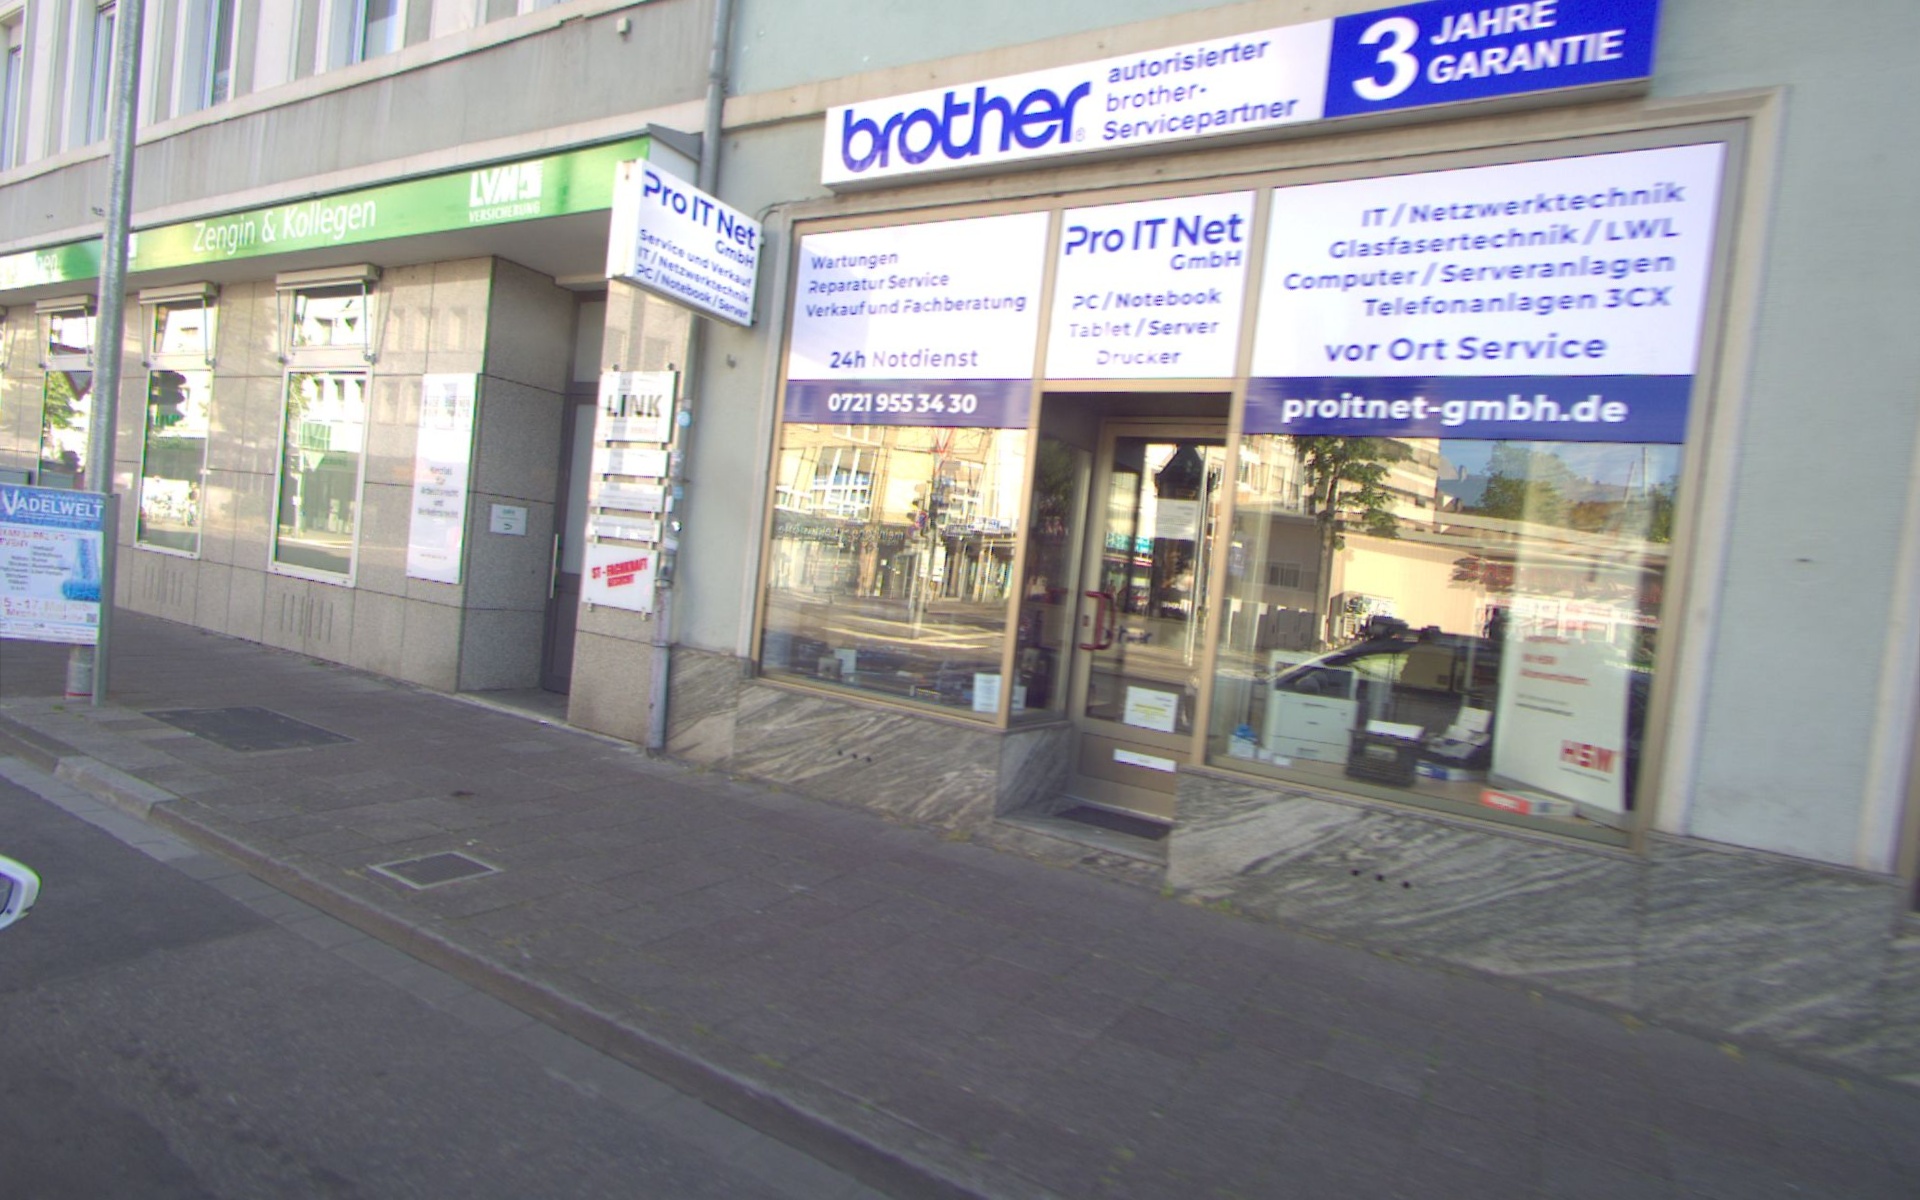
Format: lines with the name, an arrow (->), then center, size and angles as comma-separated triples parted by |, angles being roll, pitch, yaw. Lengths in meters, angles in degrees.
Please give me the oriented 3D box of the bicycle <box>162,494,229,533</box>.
bicycle -> -31.043, -3.506, 40.858 | 2.071, 1.239, 0.773 | 8, 2, 1
